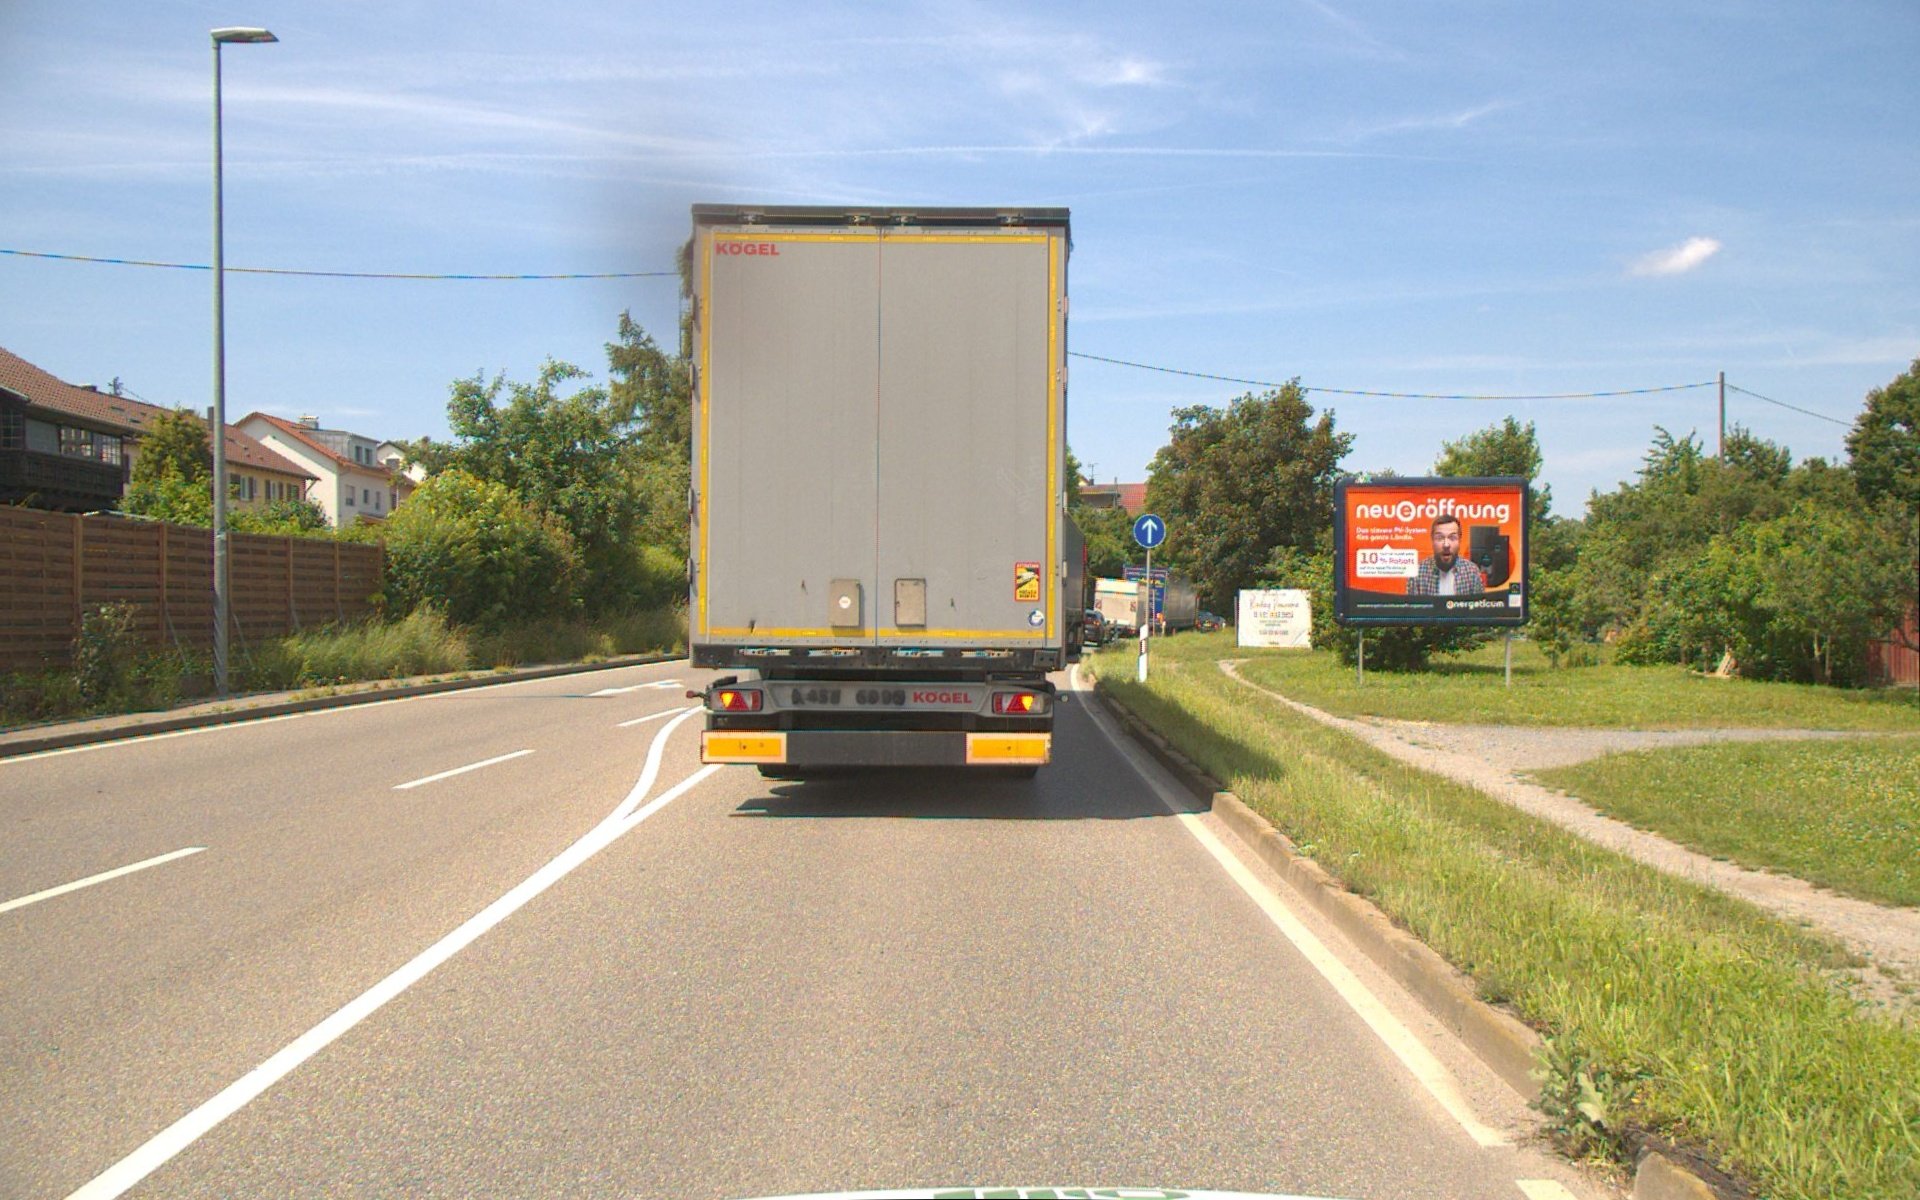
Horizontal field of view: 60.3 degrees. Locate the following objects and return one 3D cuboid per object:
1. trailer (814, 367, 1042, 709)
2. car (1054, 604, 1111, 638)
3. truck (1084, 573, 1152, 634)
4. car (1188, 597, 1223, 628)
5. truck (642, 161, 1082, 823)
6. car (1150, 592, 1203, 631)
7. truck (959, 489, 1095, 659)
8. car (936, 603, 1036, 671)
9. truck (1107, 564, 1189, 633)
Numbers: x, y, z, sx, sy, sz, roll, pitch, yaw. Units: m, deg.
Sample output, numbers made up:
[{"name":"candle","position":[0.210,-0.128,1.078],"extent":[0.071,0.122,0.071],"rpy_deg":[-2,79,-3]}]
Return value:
[{"name":"trailer","position":[-0.298,-0.784,23.581],"extent":[2.767,4.183,6.545],"rpy_deg":[0,0,2]},{"name":"car","position":[5.315,0.894,71.348],"extent":[1.951,1.400,4.003],"rpy_deg":[1,-1,11]},{"name":"truck","position":[7.892,0.210,82.049],"extent":[2.489,2.852,6.036],"rpy_deg":[1,-1,13]},{"name":"car","position":[17.096,0.896,115.194],"extent":[1.951,2.049,4.003],"rpy_deg":[1,-1,15]},{"name":"truck","position":[-0.487,-0.734,16.327],"extent":[2.764,4.200,11.446],"rpy_deg":[1,0,1]},{"name":"car","position":[13.476,0.660,102.559],"extent":[2.478,2.317,6.386],"rpy_deg":[1,0,15]},{"name":"truck","position":[2.385,-0.582,50.928],"extent":[2.701,4.364,16.427],"rpy_deg":[1,-1,7]},{"name":"car","position":[0.616,0.793,36.038],"extent":[1.780,1.370,3.850],"rpy_deg":[1,-1,6]},{"name":"truck","position":[10.737,-0.145,93.399],"extent":[3.360,3.667,9.361],"rpy_deg":[1,1,14]}]
